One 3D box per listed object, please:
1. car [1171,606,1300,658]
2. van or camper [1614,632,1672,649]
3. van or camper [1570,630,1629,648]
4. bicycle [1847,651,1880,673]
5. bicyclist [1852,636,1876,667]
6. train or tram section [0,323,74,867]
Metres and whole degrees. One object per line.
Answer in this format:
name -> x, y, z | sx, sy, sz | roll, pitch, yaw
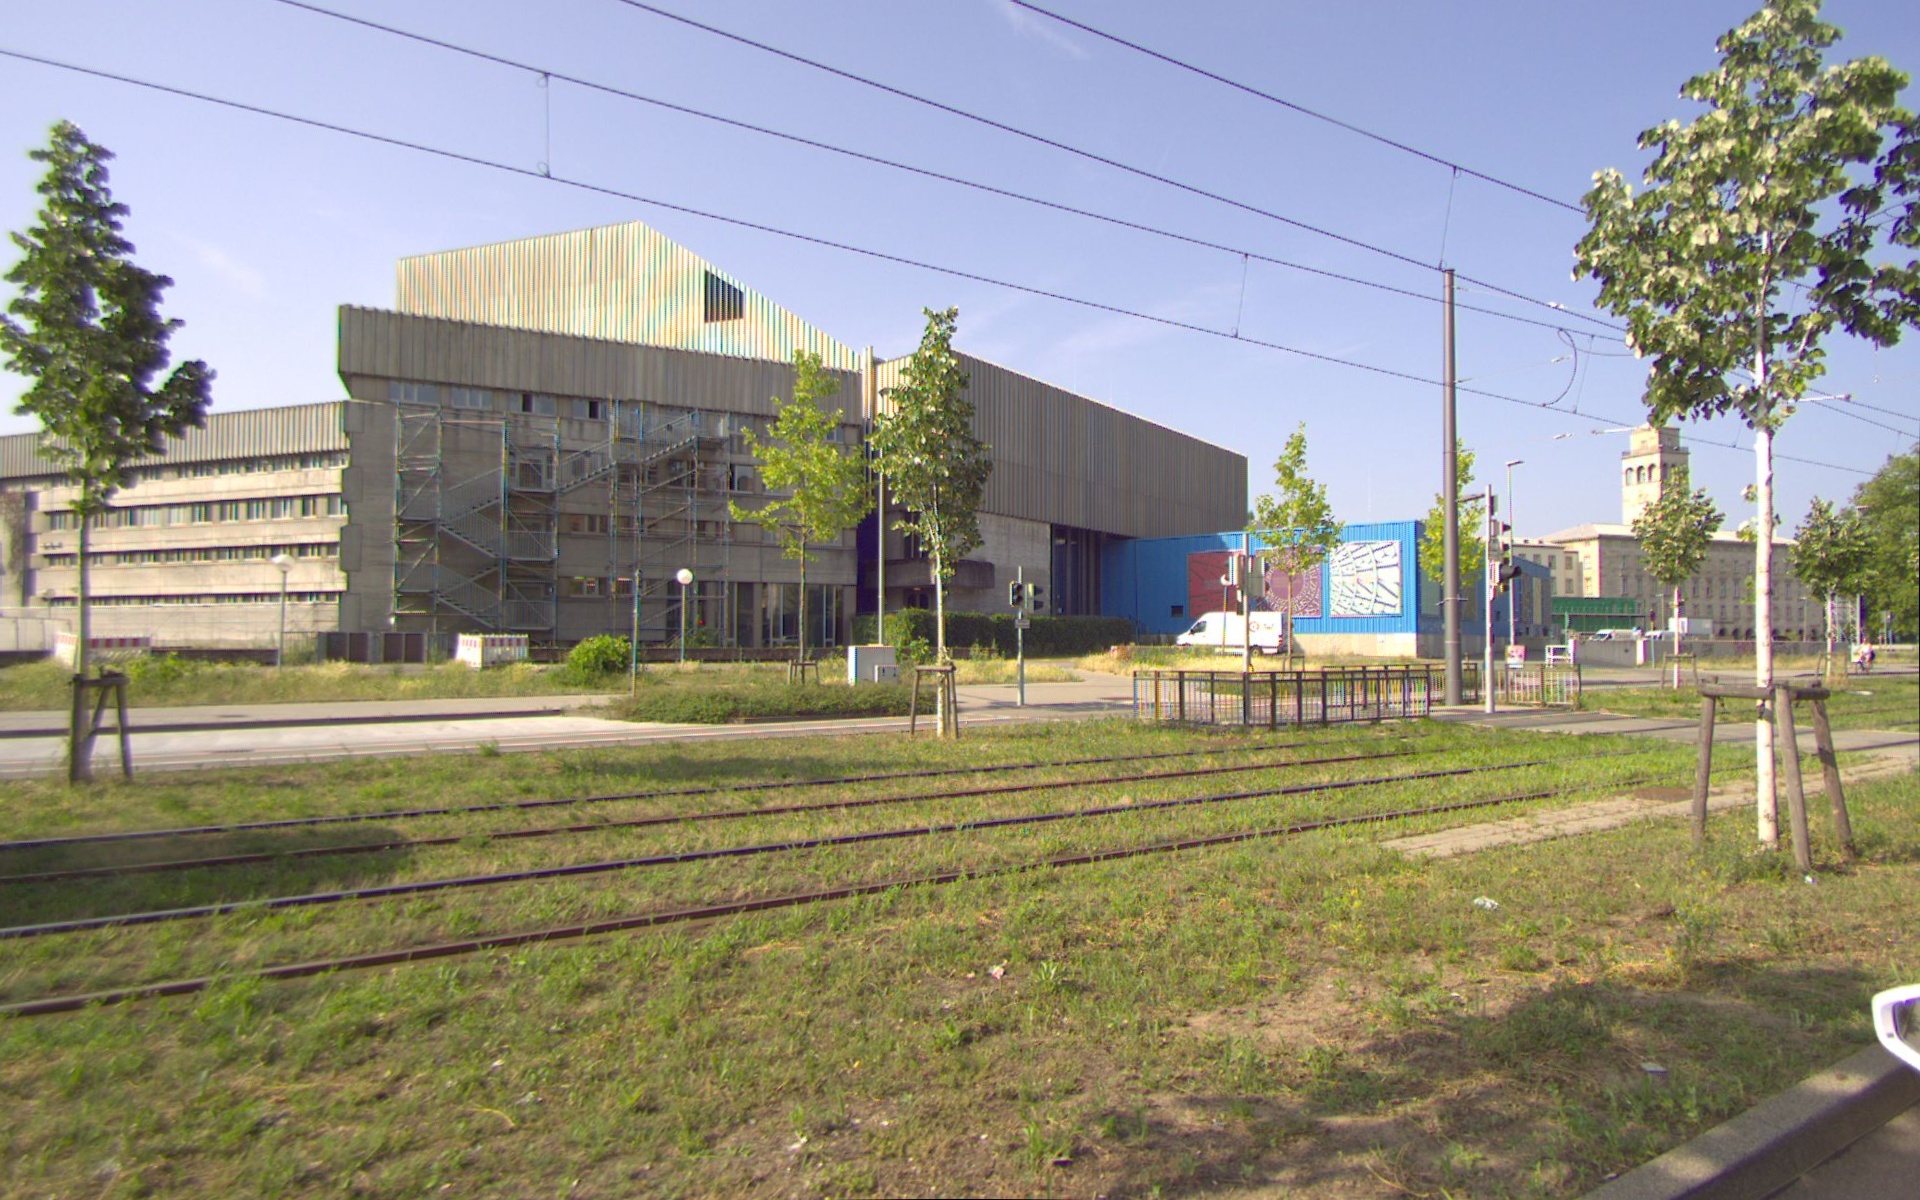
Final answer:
car -> 16.030, 1.828, 58.628 | 6.788, 2.673, 2.504 | 2, 0, 38
van or camper -> 83.253, 4.926, 122.421 | 6.335, 2.113, 2.555 | 1, -2, -18
van or camper -> 76.613, 4.677, 120.377 | 6.335, 2.113, 2.555 | 1, -2, -18
bicycle -> 42.364, 2.907, 47.088 | 1.894, 0.971, 0.536 | 1, -2, -29
bicyclist -> 42.429, 2.431, 47.141 | 0.889, 1.441, 0.536 | 1, -2, -29
train or tram section -> -11.710, -0.173, 3.782 | 12.089, 3.633, 2.883 | 2, -3, -32
